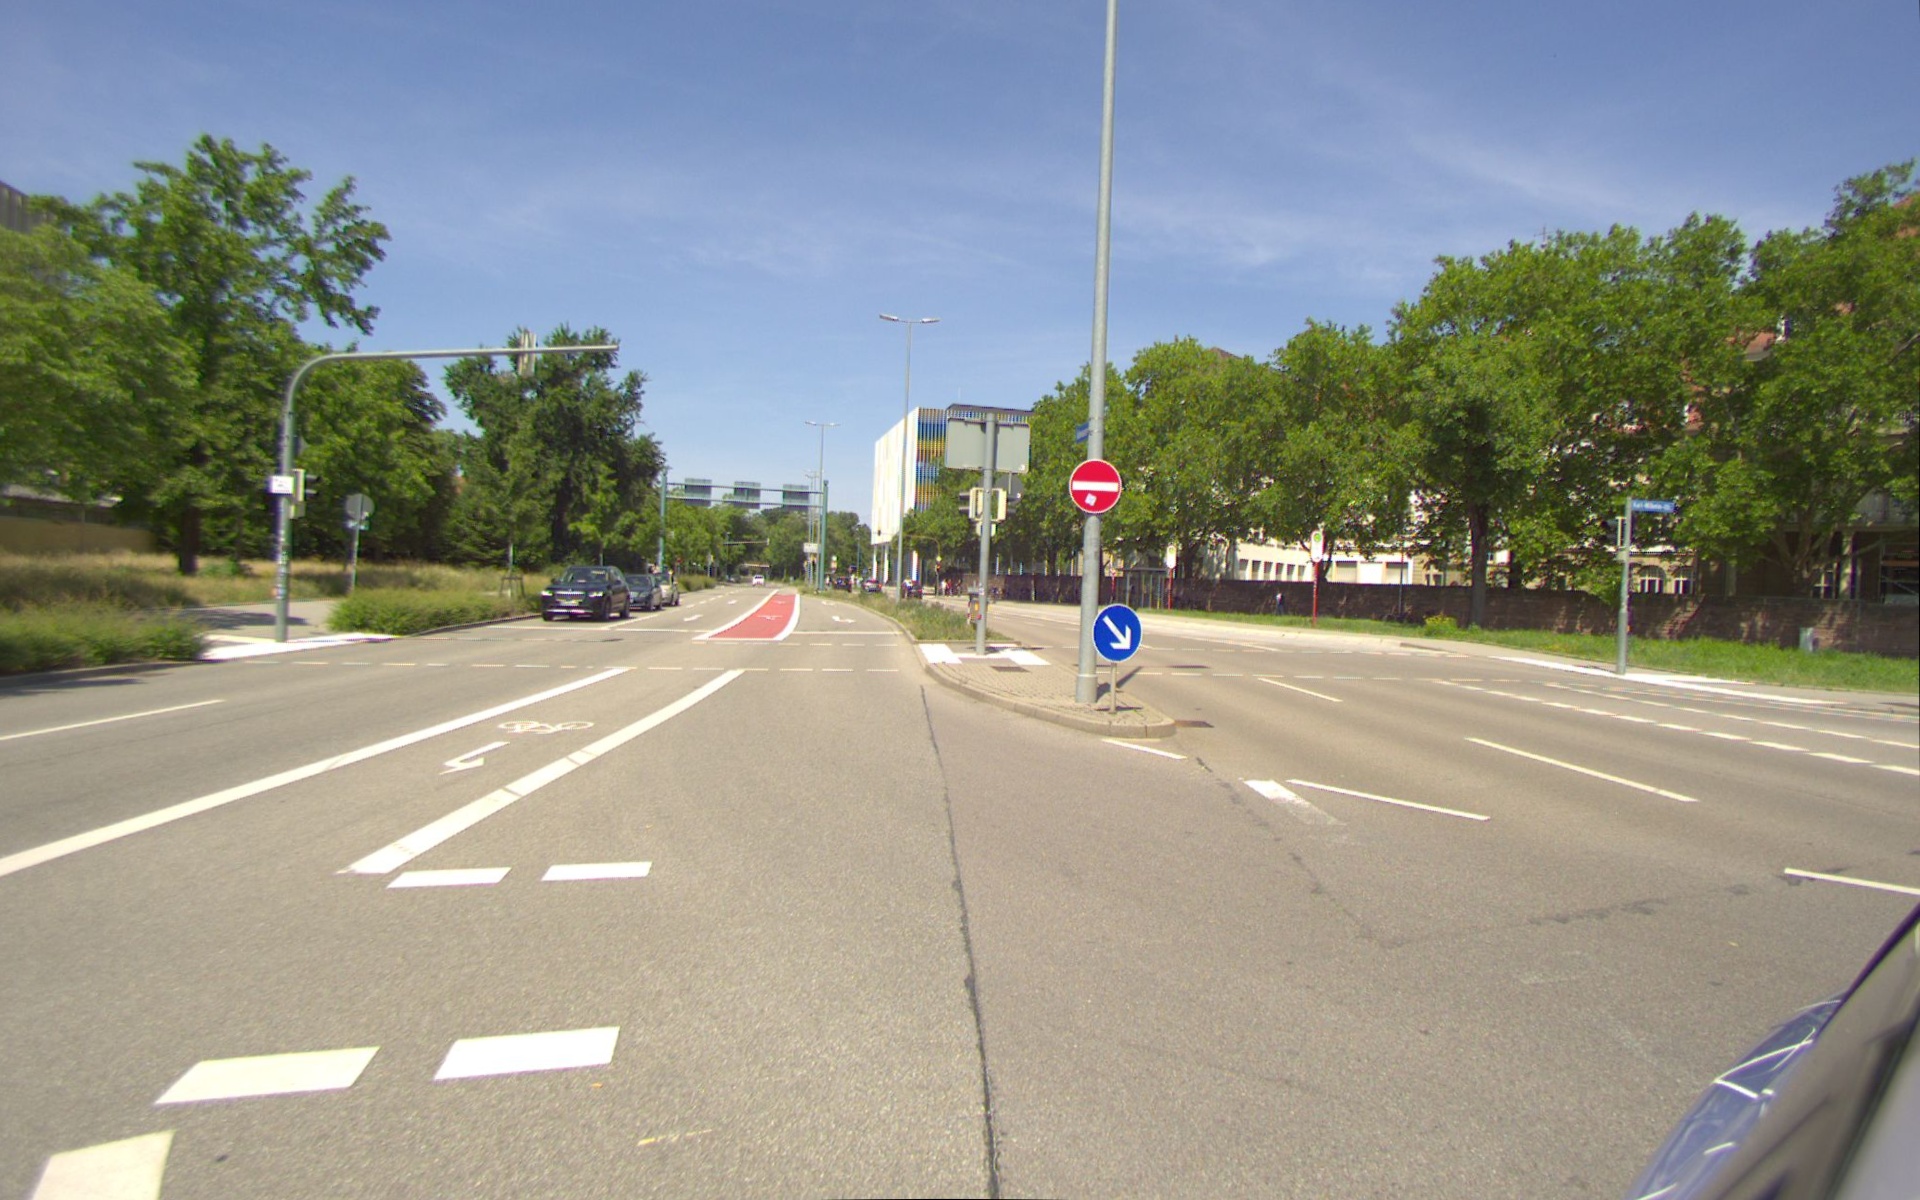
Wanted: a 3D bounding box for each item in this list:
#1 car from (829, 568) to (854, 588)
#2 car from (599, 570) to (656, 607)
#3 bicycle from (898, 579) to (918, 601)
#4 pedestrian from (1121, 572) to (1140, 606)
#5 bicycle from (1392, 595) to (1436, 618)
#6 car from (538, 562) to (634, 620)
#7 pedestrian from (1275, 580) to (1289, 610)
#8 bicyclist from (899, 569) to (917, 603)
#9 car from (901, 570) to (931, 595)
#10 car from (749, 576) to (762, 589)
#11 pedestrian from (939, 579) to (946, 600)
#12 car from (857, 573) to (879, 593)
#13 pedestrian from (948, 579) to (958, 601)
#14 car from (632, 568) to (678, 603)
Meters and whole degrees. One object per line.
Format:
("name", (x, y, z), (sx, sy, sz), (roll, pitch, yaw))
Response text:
("car", (-11.110, -2.032, 94.709), (1.741, 1.690, 4.007), (2, -1, -13))
("car", (-12.923, -0.404, 39.502), (1.723, 1.327, 4.007), (2, -1, -13))
("bicycle", (-3.082, -0.593, 59.288), (0.510, 1.253, 2.196), (2, -1, -20))
("pedestrian", (12.065, -0.778, 71.546), (0.831, 2.320, 1.077), (2, -2, -25))
("bicycle", (24.126, 0.349, 53.792), (0.449, 1.197, 2.167), (3, -1, -39))
("car", (-11.358, -0.321, 31.039), (1.674, 1.606, 4.563), (2, 1, -6))
("pedestrian", (19.066, -0.307, 59.993), (0.578, 1.743, 0.526), (3, -2, -36))
("bicyclist", (-3.057, -0.813, 59.303), (0.694, 1.911, 1.141), (2, -1, -21))
("car", (-3.817, -1.491, 87.445), (1.958, 2.039, 4.221), (2, -1, -11))
("car", (-28.480, -2.427, 140.873), (1.700, 1.708, 3.922), (2, -1, -11))
("pedestrian", (-1.659, -1.024, 97.760), (0.538, 2.039, 0.537), (2, -1, -11))
("car", (-8.669, -1.624, 95.221), (1.745, 1.705, 4.006), (2, -1, -9))
("pedestrian", (-0.654, -0.984, 98.184), (0.772, 2.039, 0.965), (2, -1, -12))
("car", (-13.926, -0.627, 46.396), (1.723, 1.457, 4.007), (2, -1, -13))
